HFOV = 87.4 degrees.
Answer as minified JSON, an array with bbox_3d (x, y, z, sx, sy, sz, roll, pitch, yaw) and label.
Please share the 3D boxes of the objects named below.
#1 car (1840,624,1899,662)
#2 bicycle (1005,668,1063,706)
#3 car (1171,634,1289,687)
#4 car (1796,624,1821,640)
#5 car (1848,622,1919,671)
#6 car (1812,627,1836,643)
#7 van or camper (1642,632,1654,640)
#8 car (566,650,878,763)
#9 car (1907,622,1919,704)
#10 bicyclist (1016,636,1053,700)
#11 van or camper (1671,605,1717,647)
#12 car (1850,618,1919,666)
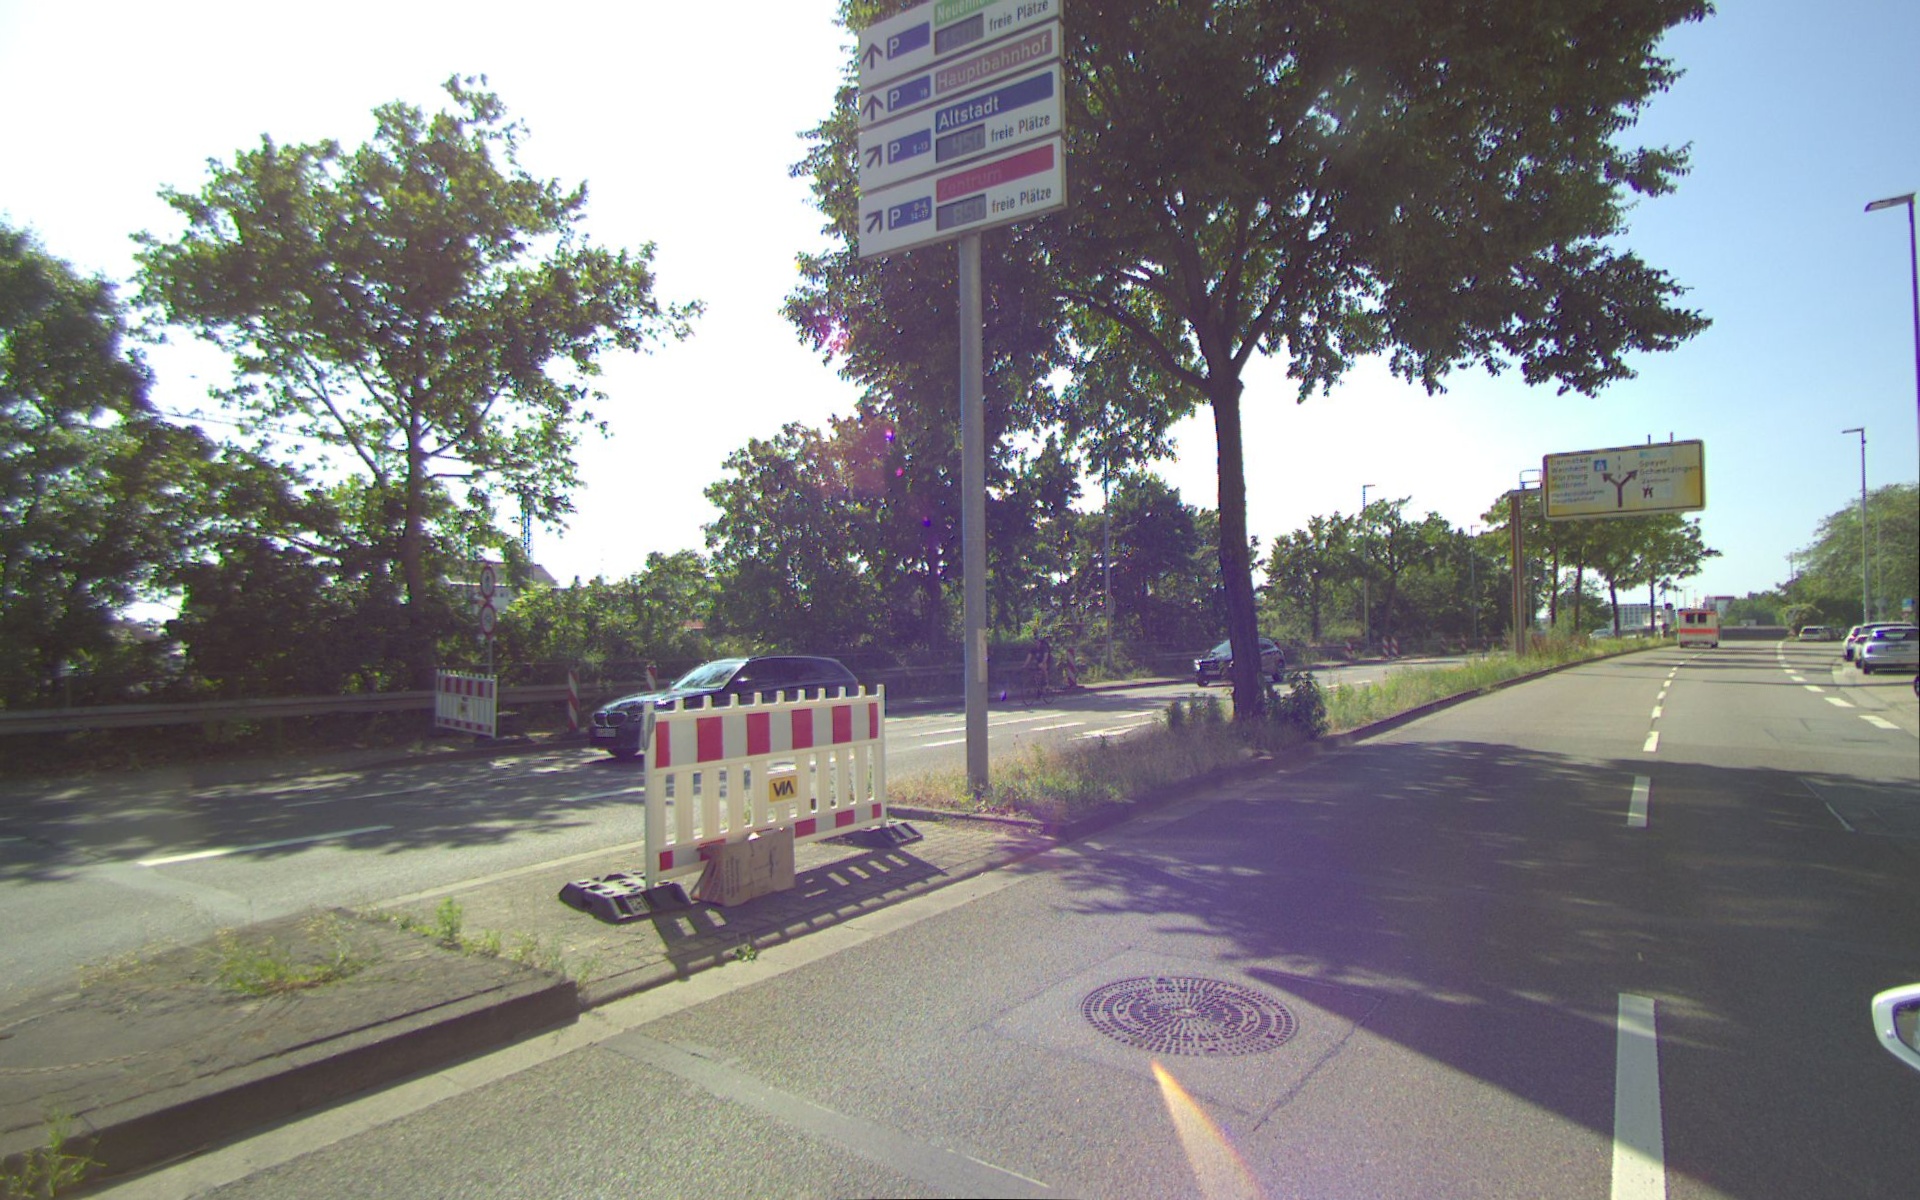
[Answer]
[{"bbox_3d":[38.571,1.783,42.665,1.736,1.526,4.107,-1,-2,41],"label":"car"},{"bbox_3d":[1.864,2.163,25.135,0.488,0.843,1.797,-3,-3,40],"label":"bicycle"},{"bbox_3d":[8.928,1.958,32.979,1.970,1.548,4.677,-5,-4,39],"label":"car"},{"bbox_3d":[83.043,3.130,98.296,3.439,1.525,1.603,1,-2,-45],"label":"car"},{"bbox_3d":[29.060,1.442,31.565,1.660,1.427,3.412,-5,-4,41],"label":"car"},{"bbox_3d":[90.373,3.680,105.099,1.752,1.600,4.163,-3,-3,42],"label":"car"},{"bbox_3d":[124.342,6.464,181.484,1.449,1.367,4.610,-2,-3,39],"label":"van or camper"},{"bbox_3d":[-3.597,1.585,15.952,1.970,1.430,4.596,-4,-4,38],"label":"car"},{"bbox_3d":[17.795,1.090,17.295,1.764,1.501,3.983,-4,-4,38],"label":"car"},{"bbox_3d":[1.876,1.695,25.205,0.567,1.554,0.775,-3,-3,41],"label":"bicyclist"},{"bbox_3d":[51.182,1.838,69.979,2.269,2.825,5.547,-3,-3,39],"label":"van or camper"},{"bbox_3d":[32.352,1.463,35.131,1.717,1.561,4.332,-3,-3,41],"label":"car"}]
